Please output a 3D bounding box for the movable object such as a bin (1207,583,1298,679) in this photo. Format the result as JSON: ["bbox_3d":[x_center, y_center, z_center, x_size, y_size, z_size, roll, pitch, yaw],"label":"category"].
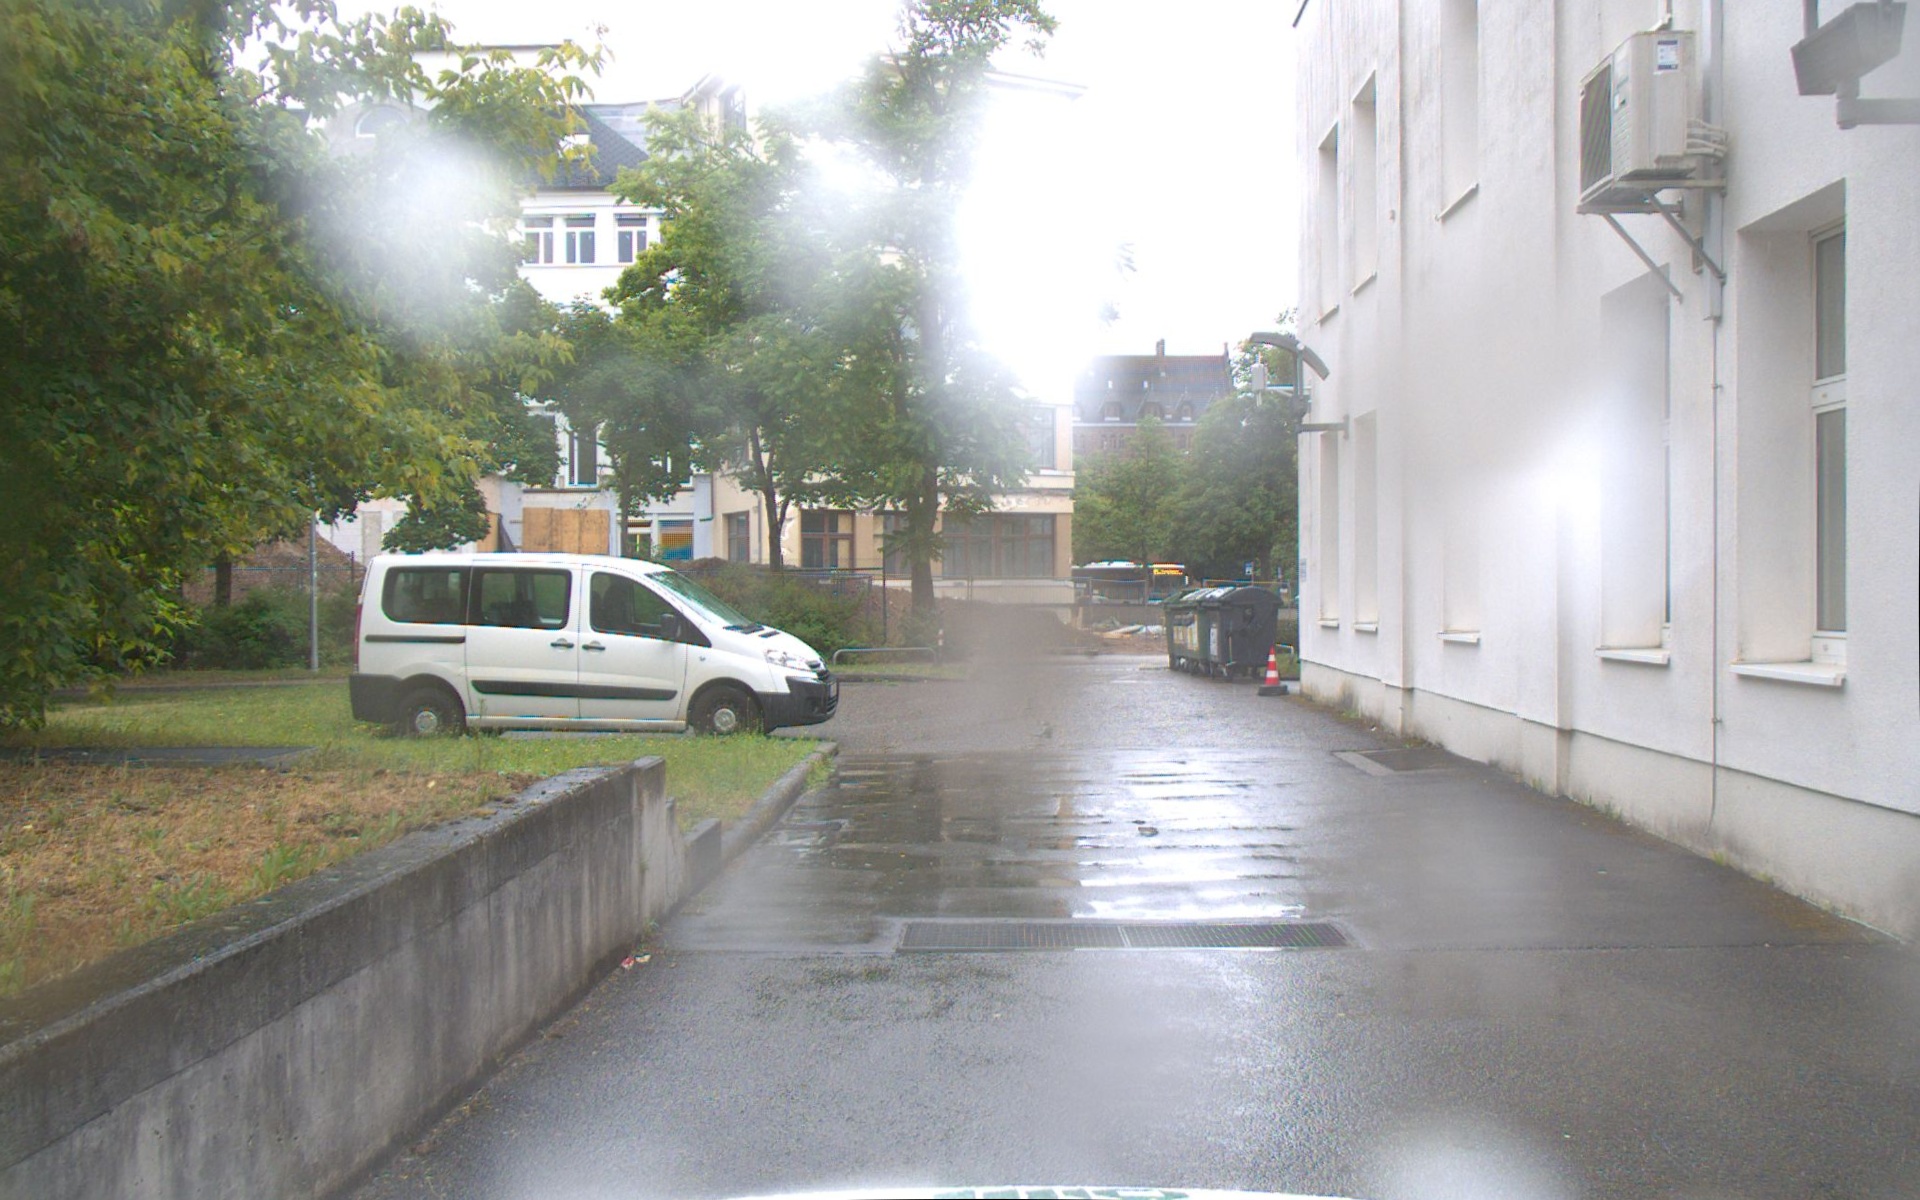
[{"bbox_3d":[4.554,0.489,25.856,1.190,1.462,1.235,0,-2,0],"label":"movable object such as a bin"}]

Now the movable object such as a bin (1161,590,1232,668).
[{"bbox_3d":[4.559,0.567,31.940,1.189,1.462,1.259,0,-2,0],"label":"movable object such as a bin"}]

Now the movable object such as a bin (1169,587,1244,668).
[{"bbox_3d":[4.535,0.520,30.561,1.189,1.462,1.259,0,-2,0],"label":"movable object such as a bin"}]

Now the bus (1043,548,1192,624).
[{"bbox_3d":[9.042,-0.696,97.103,2.774,3.942,11.949,1,-2,-27],"label":"bus"}]

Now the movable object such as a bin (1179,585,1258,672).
[{"bbox_3d":[4.550,0.509,29.184,1.190,1.494,1.235,0,-2,0],"label":"movable object such as a bin"}]

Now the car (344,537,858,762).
[{"bbox_3d":[-3.507,0.463,16.798,4.680,2.049,2.001,-1,1,3],"label":"car"}]

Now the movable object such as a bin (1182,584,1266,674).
[{"bbox_3d":[4.377,0.496,27.553,1.189,1.462,1.294,0,-2,0],"label":"movable object such as a bin"}]
